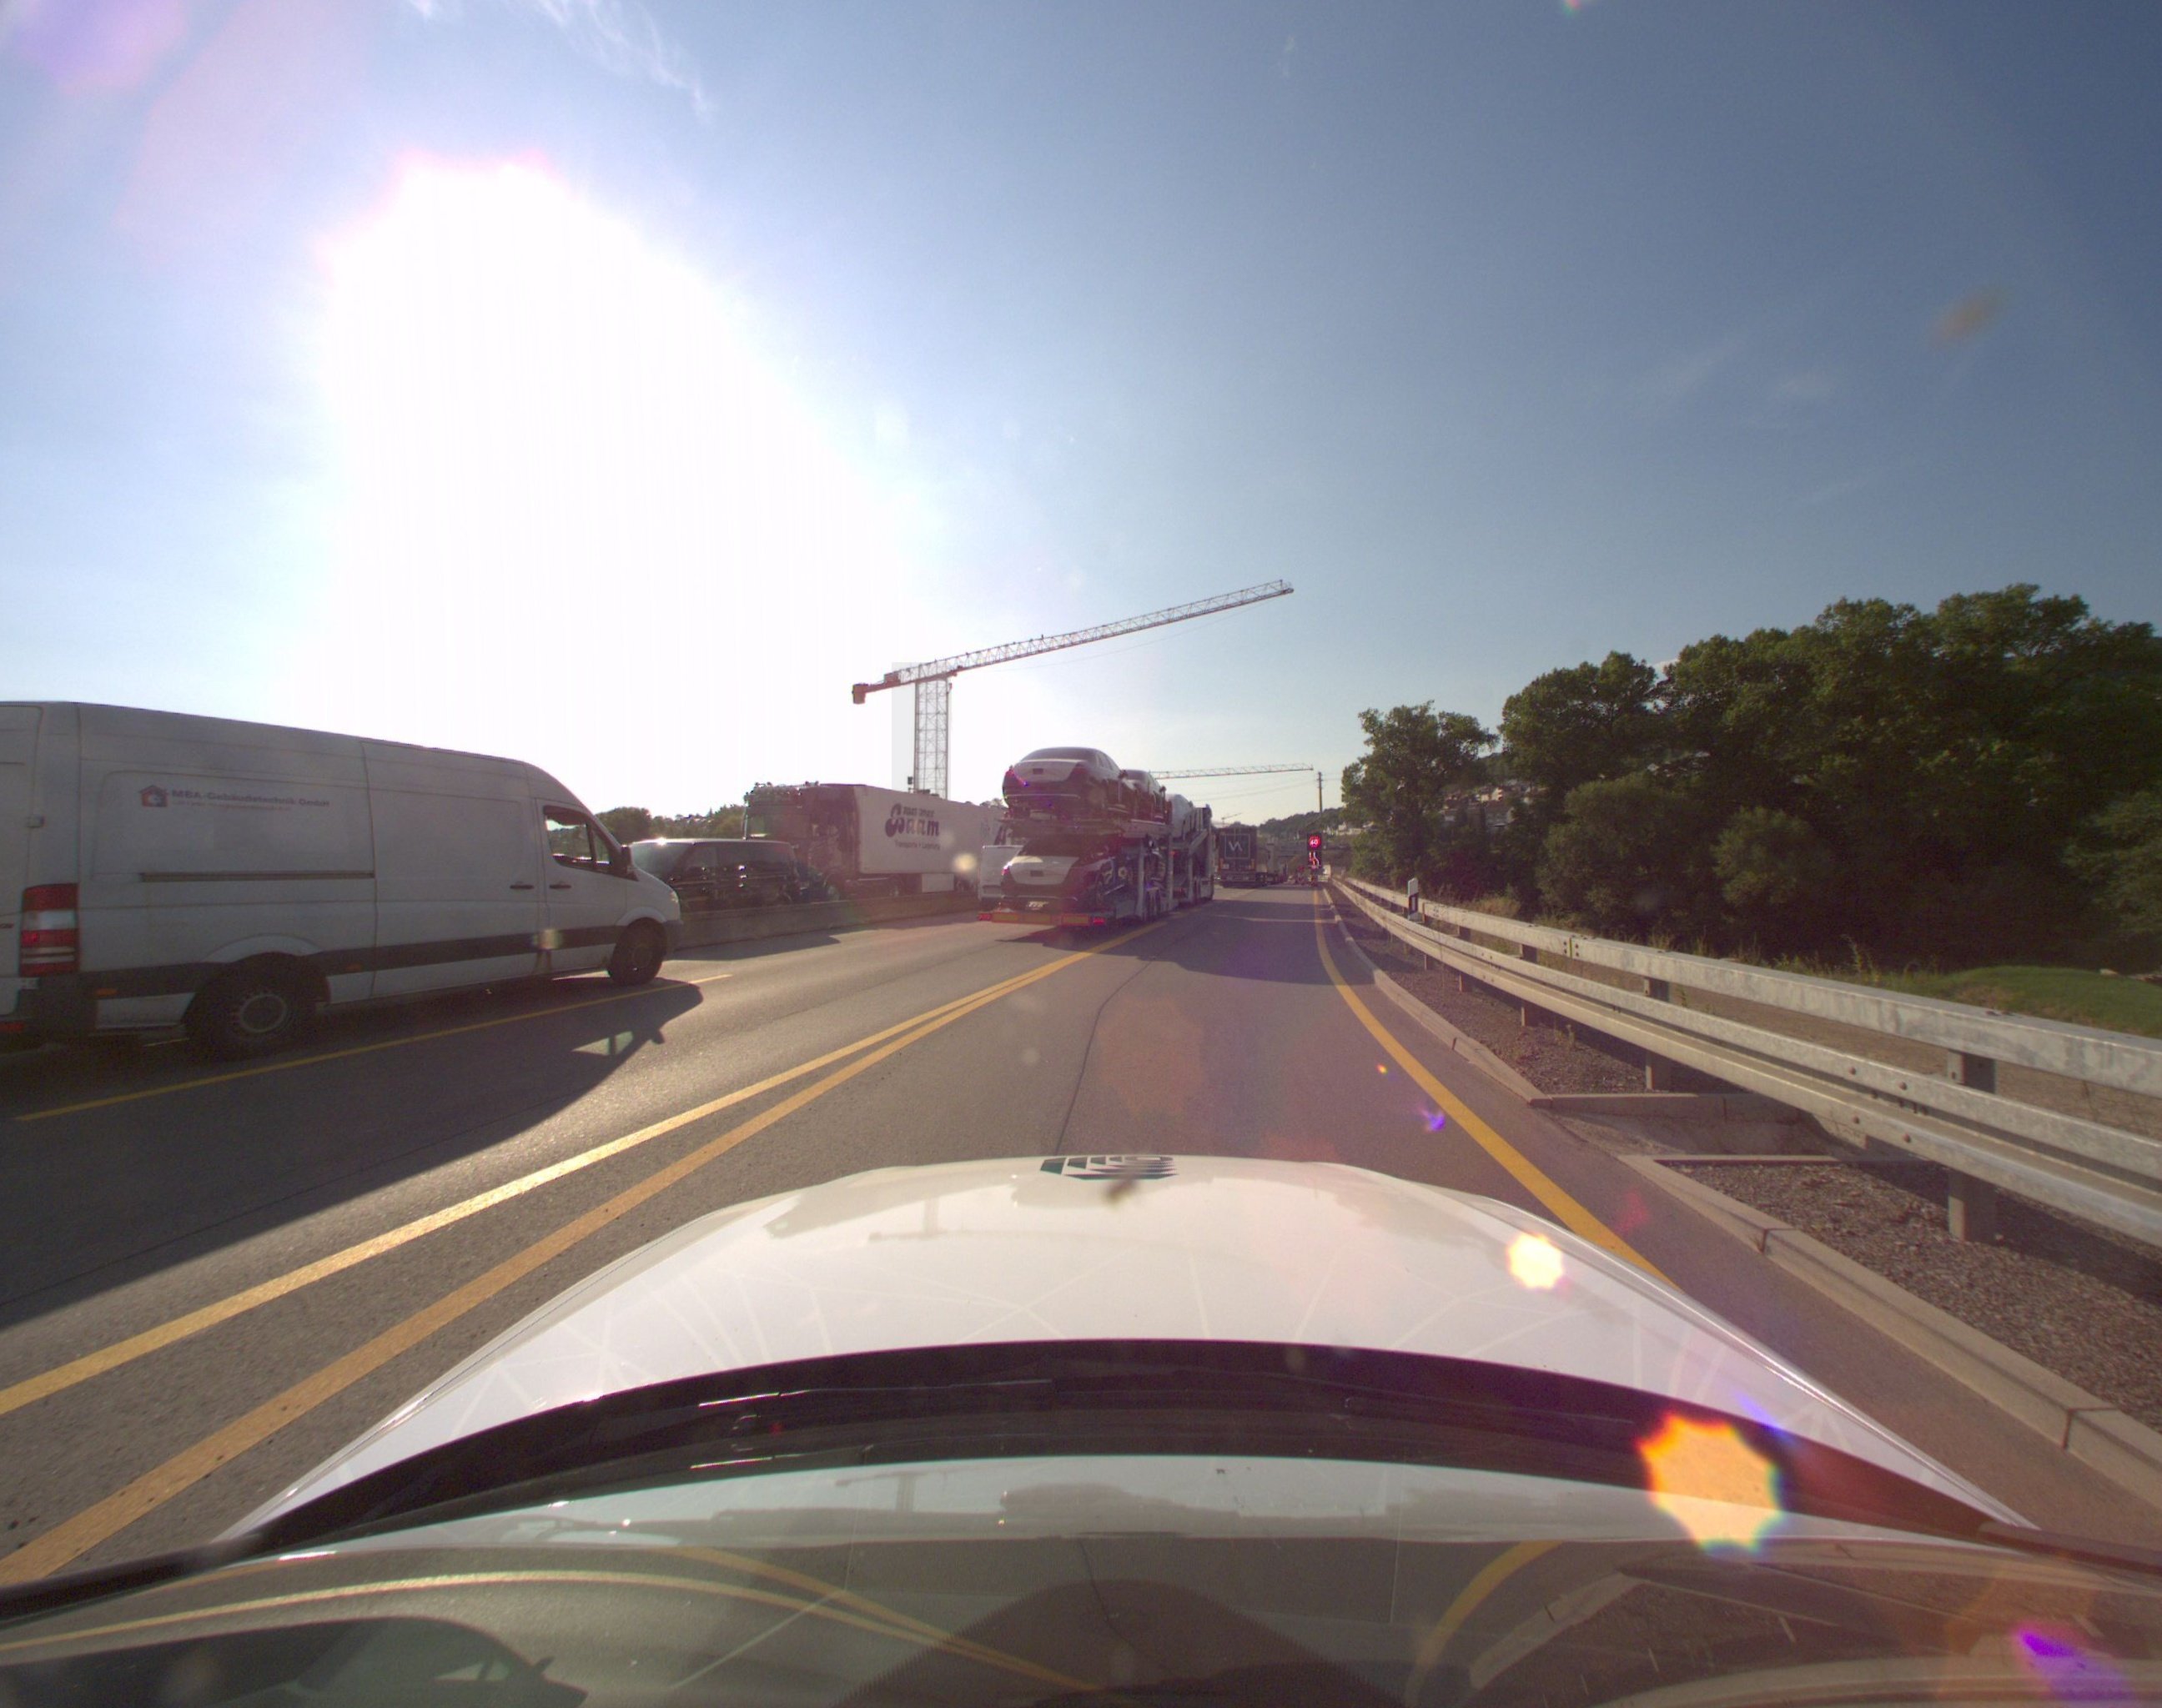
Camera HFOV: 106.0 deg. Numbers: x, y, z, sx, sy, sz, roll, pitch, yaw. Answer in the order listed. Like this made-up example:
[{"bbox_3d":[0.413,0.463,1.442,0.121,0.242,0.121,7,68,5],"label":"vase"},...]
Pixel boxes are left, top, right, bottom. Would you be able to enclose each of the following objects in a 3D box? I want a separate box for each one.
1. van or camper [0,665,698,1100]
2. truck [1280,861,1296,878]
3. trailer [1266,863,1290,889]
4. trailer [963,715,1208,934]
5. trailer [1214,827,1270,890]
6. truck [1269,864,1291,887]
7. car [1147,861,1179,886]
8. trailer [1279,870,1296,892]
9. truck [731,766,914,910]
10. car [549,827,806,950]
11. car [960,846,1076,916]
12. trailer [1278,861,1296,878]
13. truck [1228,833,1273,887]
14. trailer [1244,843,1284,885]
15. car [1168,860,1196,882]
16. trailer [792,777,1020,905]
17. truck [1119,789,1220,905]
[{"bbox_3d":[-6.714,0.234,7.972,1.979,2.620,5.926,-1,-1,15],"label":"van or camper"},{"bbox_3d":[55.833,4.155,219.958,3.999,4.286,6.650,-1,-2,15],"label":"truck"},{"bbox_3d":[32.594,3.571,134.124,3.360,3.997,14.803,-1,-1,15],"label":"trailer"},{"bbox_3d":[1.211,-0.358,22.837,2.836,3.997,15.808,-1,-1,15],"label":"trailer"},{"bbox_3d":[11.849,0.394,59.094,2.936,4.092,10.838,-2,-2,16],"label":"trailer"},{"bbox_3d":[34.698,3.734,141.805,3.365,3.997,6.650,-1,-2,15],"label":"truck"},{"bbox_3d":[6.250,1.464,61.409,1.817,1.752,4.014,-3,-2,13],"label":"car"},{"bbox_3d":[43.363,5.572,170.446,3.080,4.314,14.308,-1,-1,15],"label":"trailer"},{"bbox_3d":[-8.151,-0.391,26.584,2.607,4.067,6.155,-3,-2,16],"label":"truck"},{"bbox_3d":[-7.620,0.645,15.980,1.979,2.014,4.511,-3,-2,15],"label":"car"},{"bbox_3d":[-1.849,0.786,25.902,2.013,1.981,5.000,1,-1,16],"label":"car"},{"bbox_3d":[53.704,4.024,212.279,4.066,4.314,14.308,-1,-1,15],"label":"trailer"},{"bbox_3d":[13.423,0.527,64.262,2.863,3.997,6.652,-1,-2,16],"label":"truck"},{"bbox_3d":[19.422,1.103,85.723,3.360,3.997,14.803,-1,-1,15],"label":"trailer"},{"bbox_3d":[8.415,1.406,67.409,1.817,1.654,4.014,-3,-2,13],"label":"car"},{"bbox_3d":[-6.248,-0.272,33.277,2.607,4.067,14.137,-3,-2,16],"label":"trailer"},{"bbox_3d":[3.614,-0.168,31.746,2.827,3.997,6.650,-1,-2,15],"label":"truck"}]
